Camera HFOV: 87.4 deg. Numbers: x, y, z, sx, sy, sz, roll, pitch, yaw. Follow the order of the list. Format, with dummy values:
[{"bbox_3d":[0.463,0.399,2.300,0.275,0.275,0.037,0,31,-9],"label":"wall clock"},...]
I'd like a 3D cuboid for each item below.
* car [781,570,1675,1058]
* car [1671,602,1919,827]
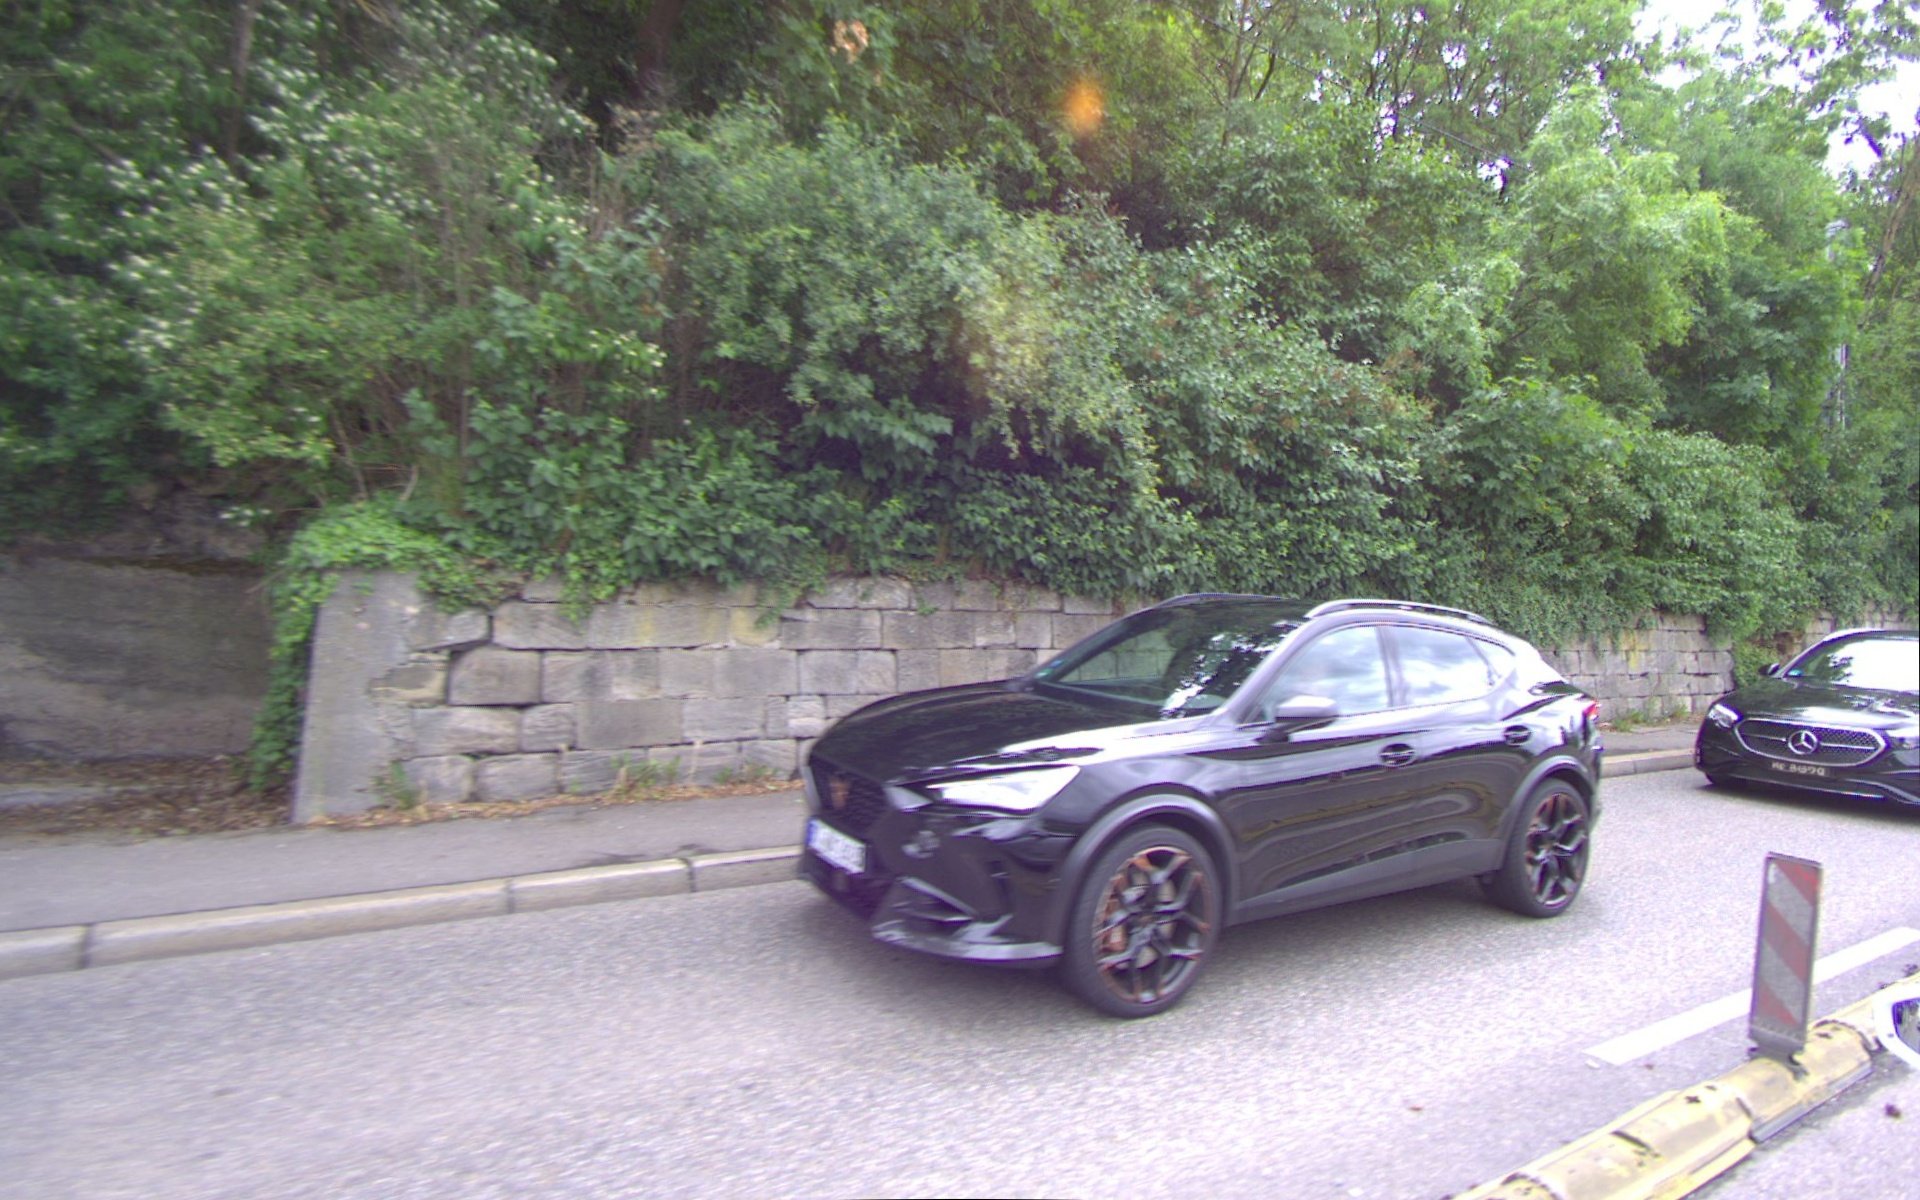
[{"bbox_3d":[1.473,0.706,4.988,4.269,1.505,1.819,2,0,-31],"label":"car"},{"bbox_3d":[8.678,0.919,9.219,4.602,1.614,1.821,2,0,-32],"label":"car"}]
